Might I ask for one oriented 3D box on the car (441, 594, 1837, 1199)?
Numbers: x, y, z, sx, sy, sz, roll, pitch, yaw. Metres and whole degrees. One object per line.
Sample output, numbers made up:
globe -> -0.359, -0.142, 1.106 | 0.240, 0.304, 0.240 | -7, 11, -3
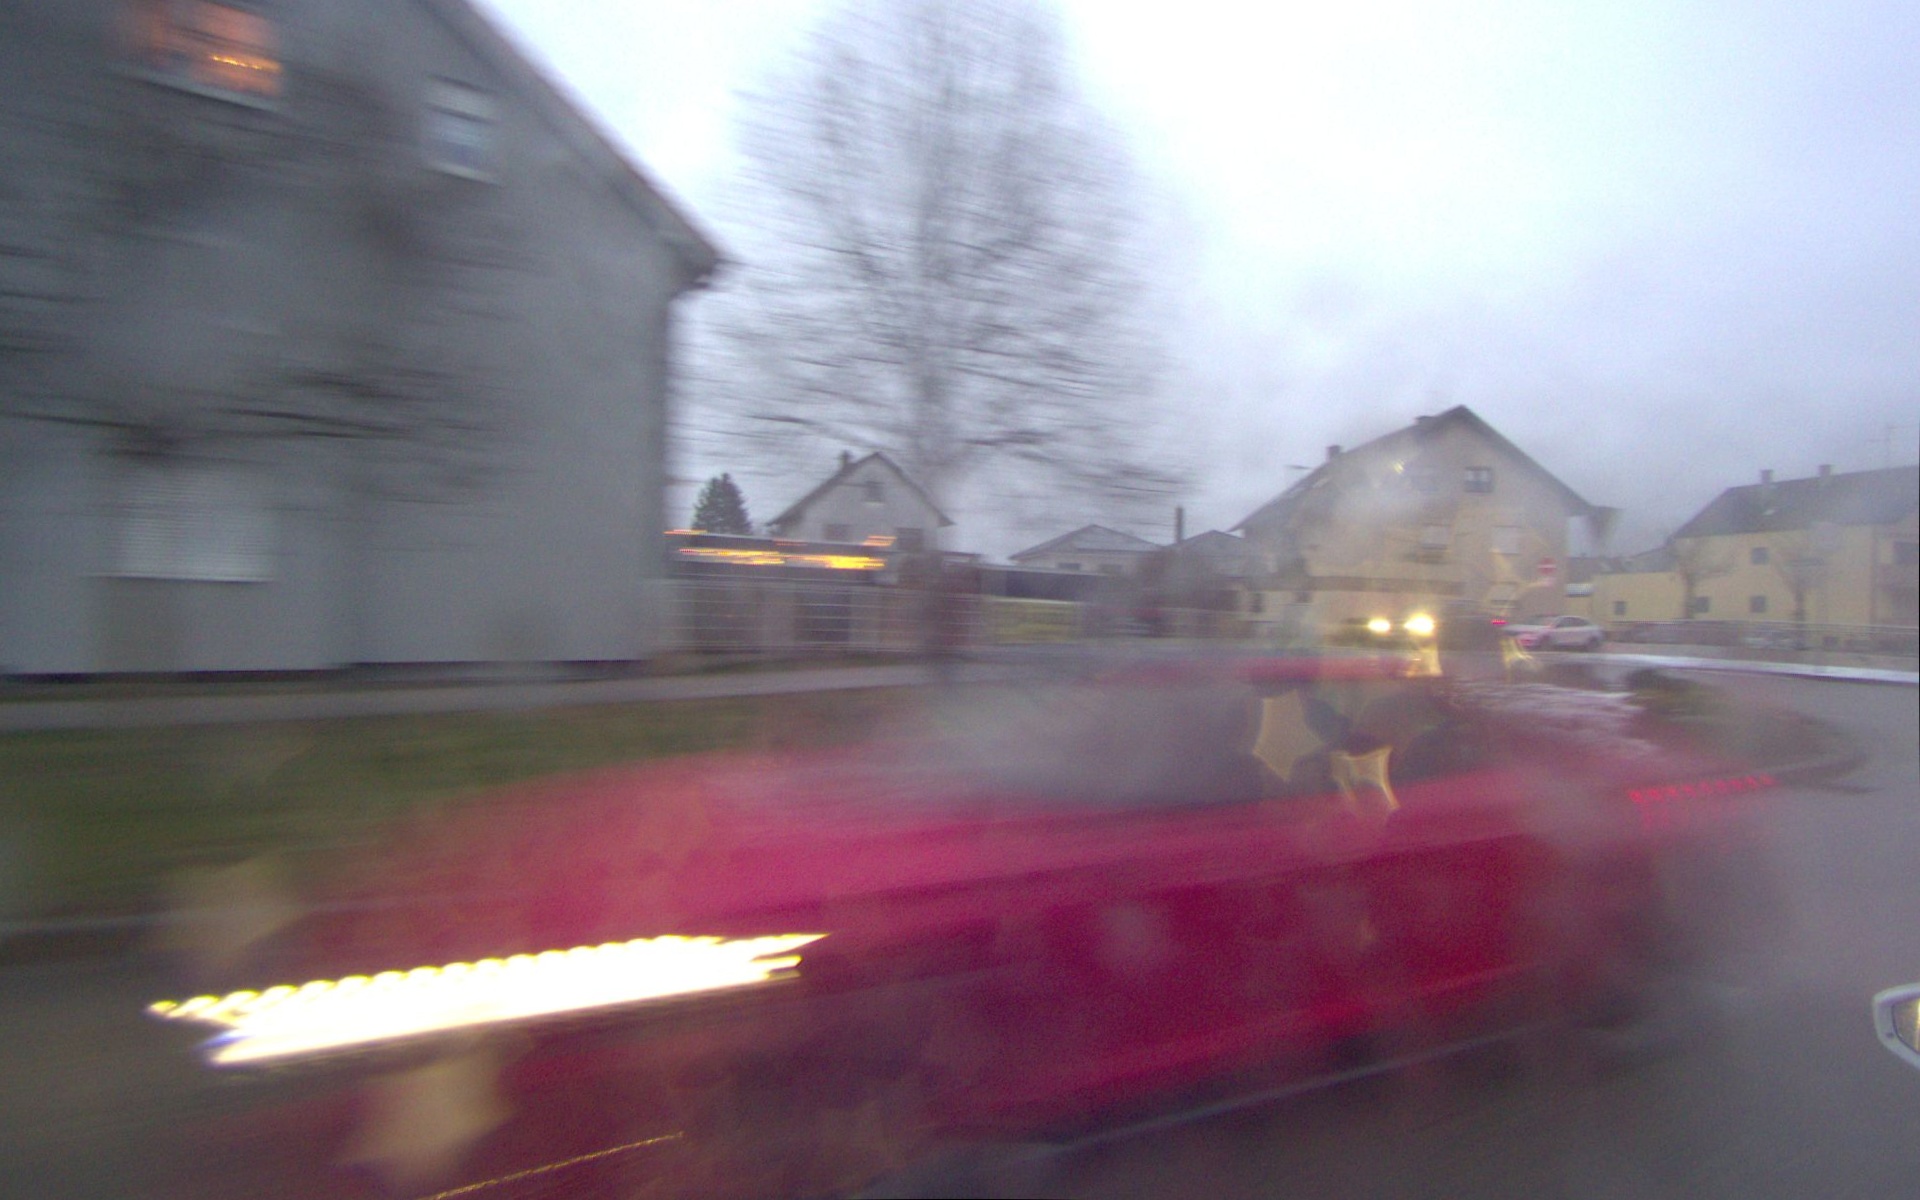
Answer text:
car -> 0.754, 0.805, 3.619 | 4.504, 1.508, 1.902 | 1, -1, -24

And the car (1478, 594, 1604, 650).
car -> 22.765, 0.852, 39.363 | 4.158, 2.041, 1.991 | 1, 2, -20

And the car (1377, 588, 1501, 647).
car -> 17.936, 0.656, 37.633 | 3.939, 2.041, 1.915 | 1, 2, -20

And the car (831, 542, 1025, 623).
car -> -0.722, -0.380, 22.951 | 3.955, 1.673, 1.983 | 1, 2, -32

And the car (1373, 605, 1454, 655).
car -> 14.762, 0.927, 32.566 | 1.371, 1.457, 4.318 | 3, 2, 38

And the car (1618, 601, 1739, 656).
car -> 29.758, 1.158, 41.633 | 3.935, 2.041, 1.993 | 2, 2, -17

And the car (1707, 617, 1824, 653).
car -> 35.079, 1.516, 43.749 | 4.046, 1.325, 1.993 | 2, 2, -17
